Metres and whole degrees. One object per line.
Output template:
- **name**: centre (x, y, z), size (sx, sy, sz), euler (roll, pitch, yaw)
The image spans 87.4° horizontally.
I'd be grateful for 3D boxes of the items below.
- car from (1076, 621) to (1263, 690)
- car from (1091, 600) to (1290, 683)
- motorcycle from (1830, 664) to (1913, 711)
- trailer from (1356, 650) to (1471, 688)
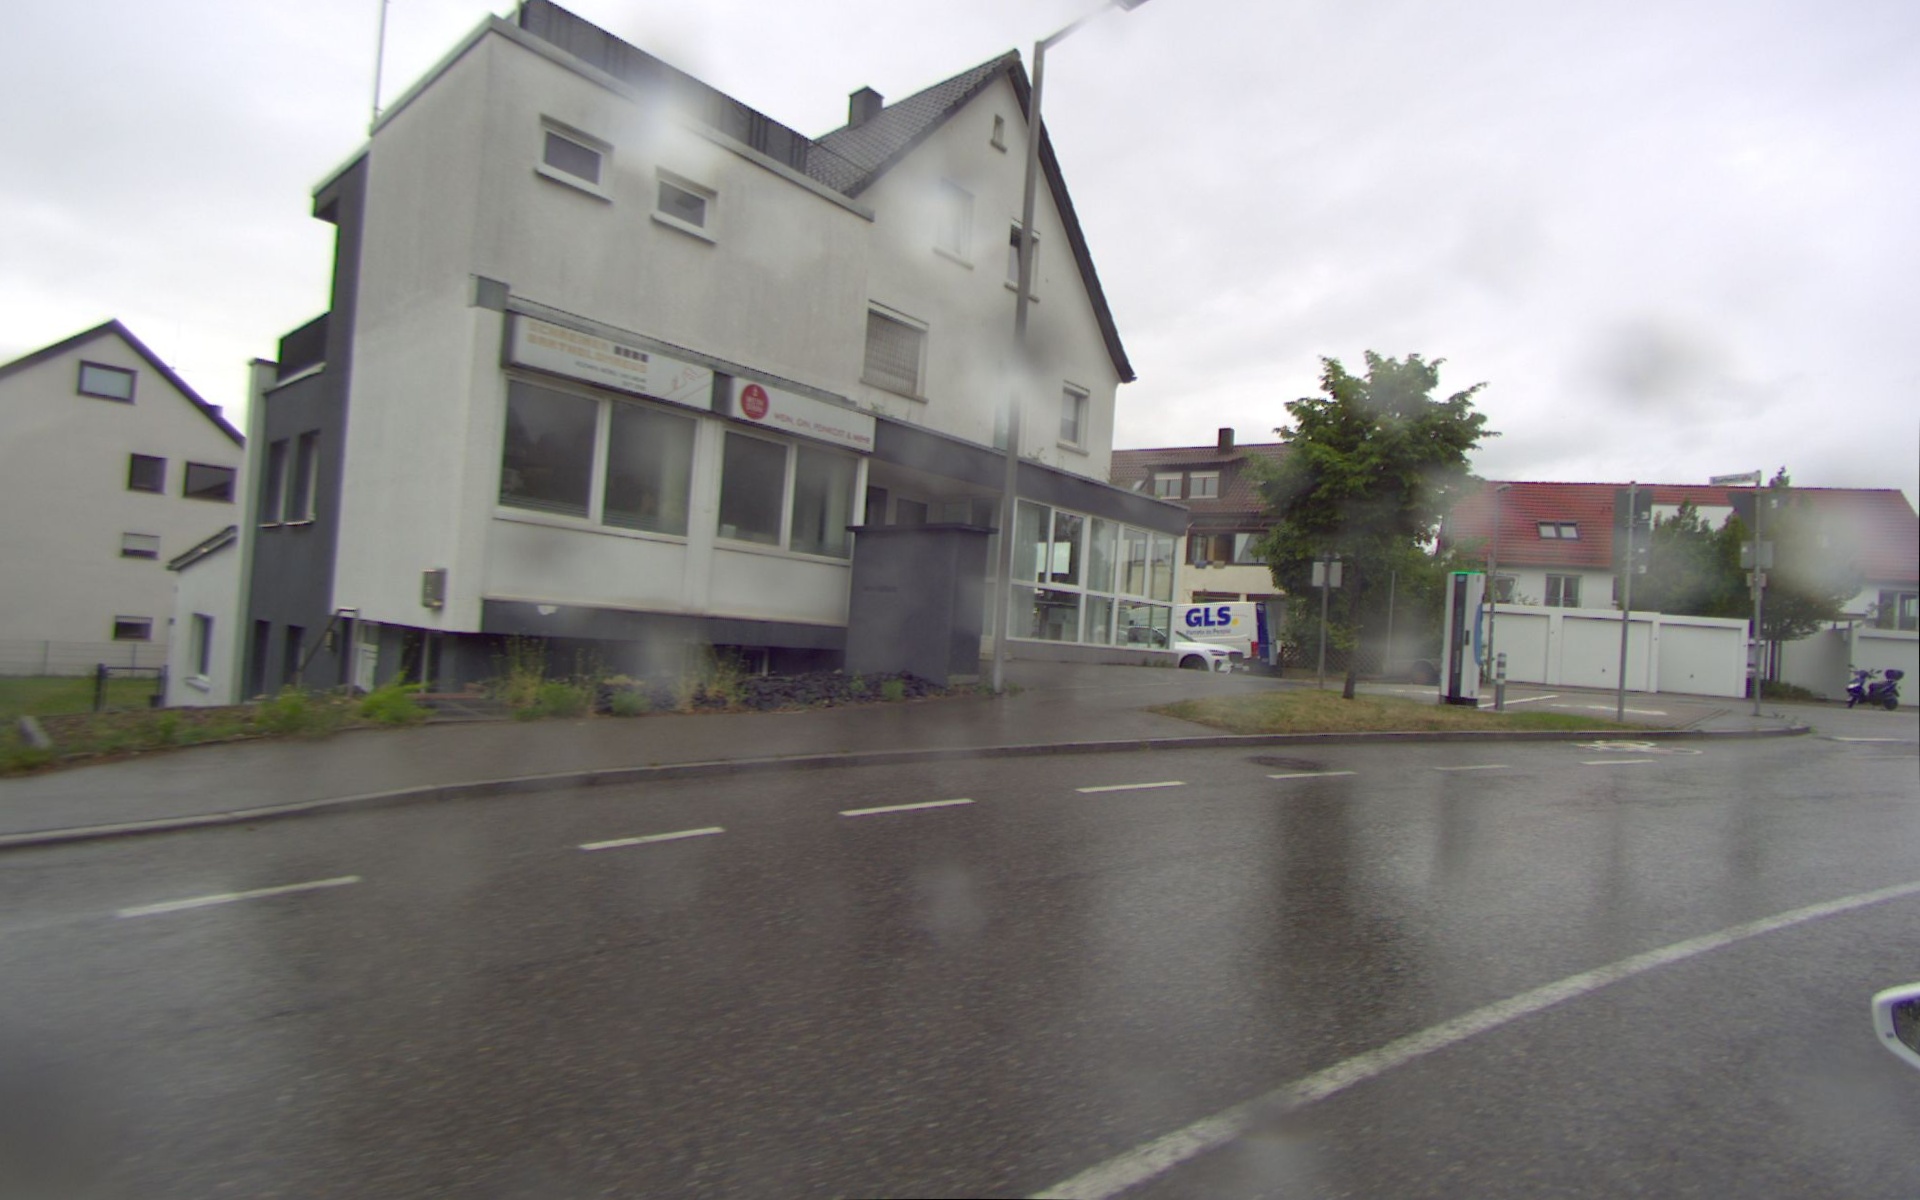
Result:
- **car**: centre (5.801, 1.508, 28.149), size (4.723, 1.728, 2.058), euler (0, -3, 41)
- **car**: centre (7.633, 1.335, 33.728), size (6.154, 2.556, 2.183), euler (0, -2, 37)
- **motorcycle**: centre (27.927, 2.677, 30.793), size (2.007, 1.339, 0.708), euler (2, -2, -5)
- **trailer**: centre (13.385, 2.006, 29.698), size (2.783, 1.020, 1.584), euler (-1, -2, 43)
